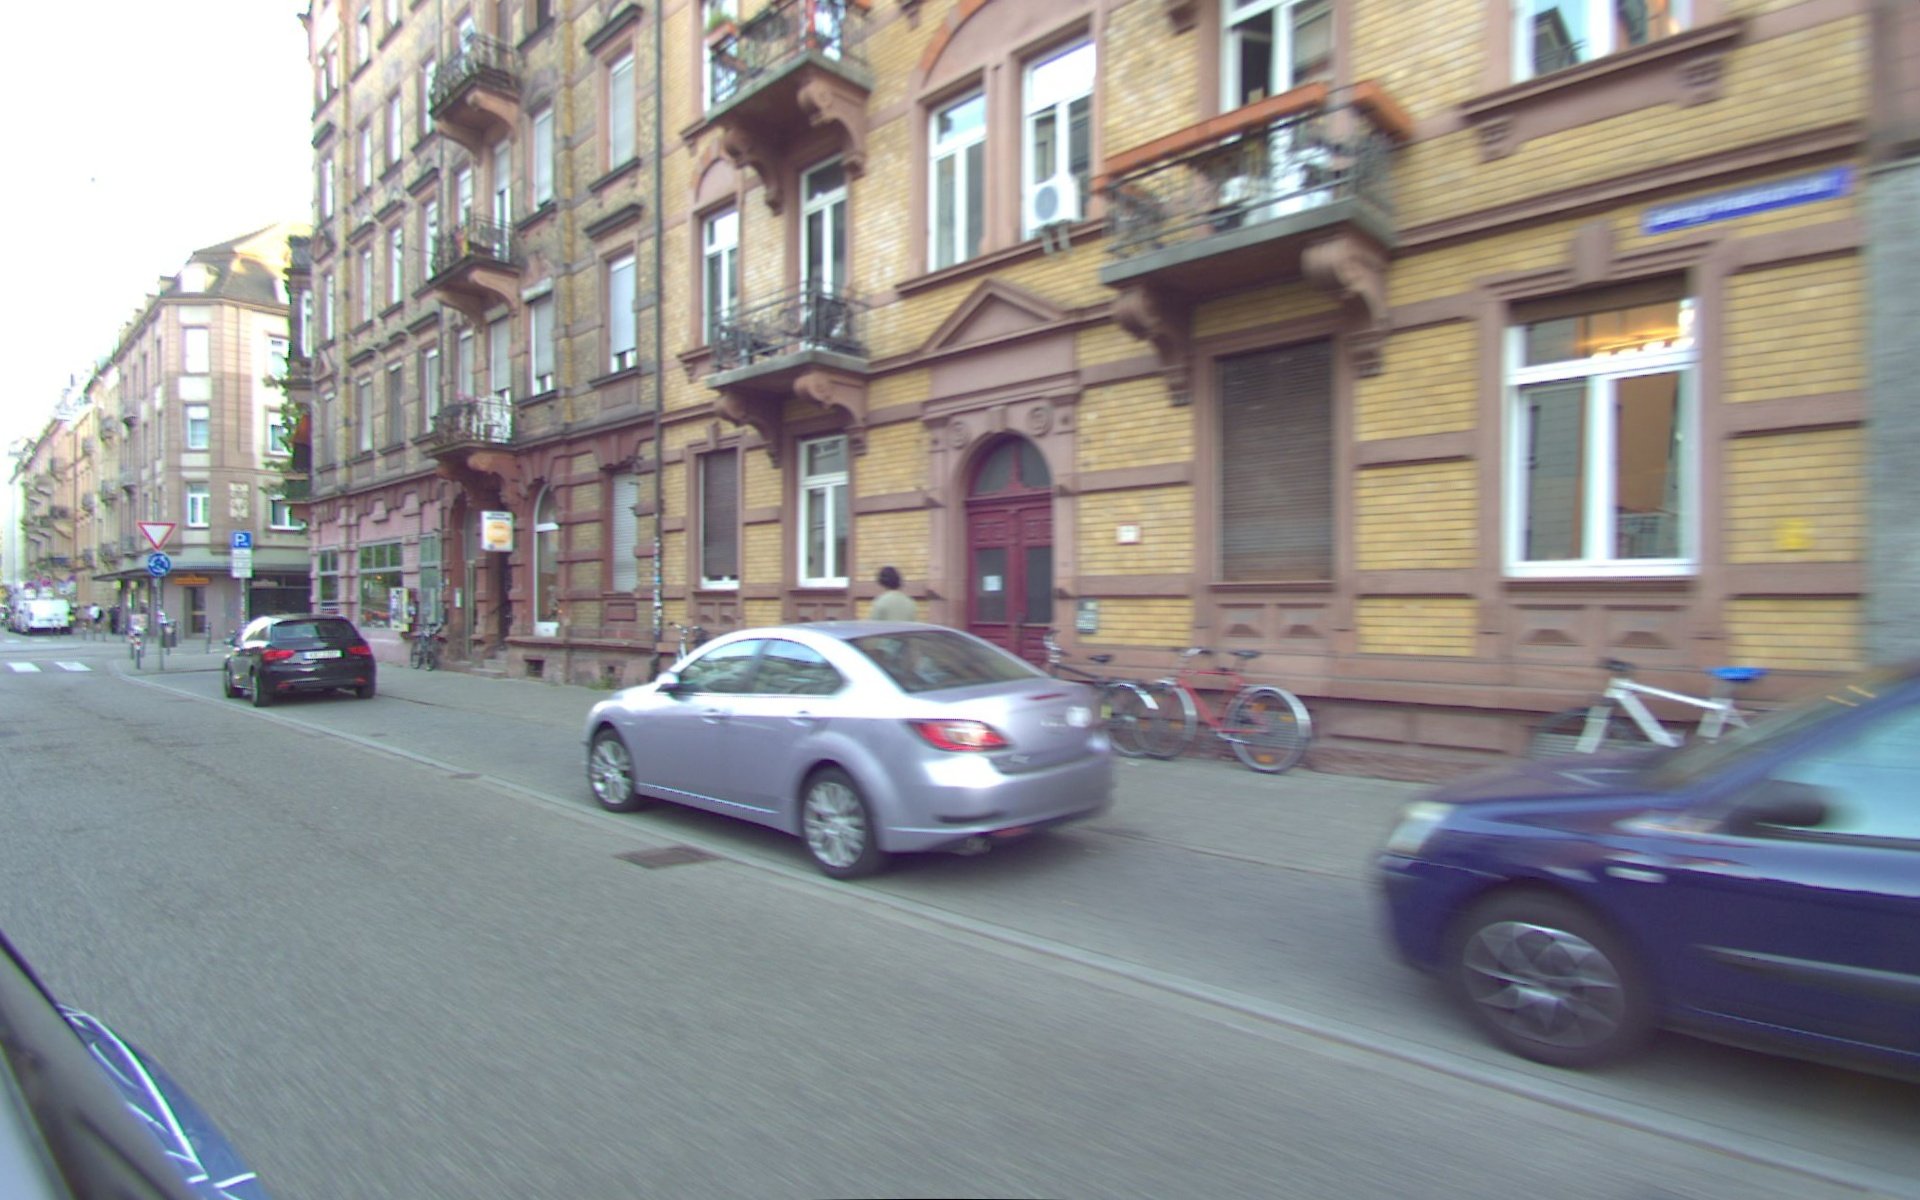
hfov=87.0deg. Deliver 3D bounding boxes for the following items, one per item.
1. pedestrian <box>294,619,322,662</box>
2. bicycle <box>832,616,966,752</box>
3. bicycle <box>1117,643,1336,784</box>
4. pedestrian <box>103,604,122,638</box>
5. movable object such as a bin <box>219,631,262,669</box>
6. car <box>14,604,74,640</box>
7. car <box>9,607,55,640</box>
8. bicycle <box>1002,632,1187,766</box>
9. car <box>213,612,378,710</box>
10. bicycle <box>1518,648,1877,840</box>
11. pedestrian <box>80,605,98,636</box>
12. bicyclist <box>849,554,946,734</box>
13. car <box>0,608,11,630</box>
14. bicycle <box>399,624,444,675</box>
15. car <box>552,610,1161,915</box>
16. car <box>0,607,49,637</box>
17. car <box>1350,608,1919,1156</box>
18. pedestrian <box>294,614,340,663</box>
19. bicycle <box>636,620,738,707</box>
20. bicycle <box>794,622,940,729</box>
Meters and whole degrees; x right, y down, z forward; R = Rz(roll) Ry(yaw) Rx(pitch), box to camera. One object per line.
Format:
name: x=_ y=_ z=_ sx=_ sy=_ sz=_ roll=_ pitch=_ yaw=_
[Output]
pedestrian: x=-18.068 y=1.109 z=28.039 sx=0.497 sy=1.152 sz=0.792 roll=0 pitch=1 yaw=-45
bicycle: x=-0.664 y=0.796 z=10.344 sx=0.698 sy=1.205 sz=1.747 roll=0 pitch=1 yaw=-28
bicycle: x=2.262 y=0.924 z=8.751 sx=1.760 sy=1.045 sz=0.543 roll=-1 pitch=1 yaw=44
pedestrian: x=-45.013 y=1.099 z=53.769 sx=0.644 sy=1.792 sz=0.694 roll=-1 pitch=-1 yaw=-28
movable object such as a bin: x=-18.480 y=1.276 z=25.986 sx=0.729 sy=0.922 sz=0.753 roll=1 pitch=1 yaw=40
car: x=-52.187 y=1.226 z=57.636 sx=4.769 sy=1.973 sz=2.113 roll=-1 pitch=0 yaw=42
car: x=-56.686 y=1.400 z=61.809 sx=4.328 sy=1.918 sz=1.853 roll=-1 pitch=0 yaw=45
bicycle: x=1.256 y=0.897 z=9.730 sx=1.760 sy=1.132 sz=0.543 roll=-1 pitch=1 yaw=44
car: x=-11.319 y=0.944 z=17.144 sx=1.673 sy=1.431 sz=3.858 roll=-1 pitch=0 yaw=-44
bicycle: x=4.759 y=0.869 z=6.641 sx=1.848 sy=1.030 sz=0.444 roll=-1 pitch=3 yaw=44
pedestrian: x=-50.885 y=1.202 z=59.100 sx=0.738 sy=1.757 sz=1.214 roll=-1 pitch=0 yaw=-43
bicyclist: x=-0.649 y=0.419 z=10.319 sx=0.698 sy=1.742 sz=0.846 roll=0 pitch=1 yaw=-28
car: x=-81.687 y=1.580 z=85.383 sx=4.542 sy=1.835 sz=2.112 roll=-1 pitch=0 yaw=44
bicycle: x=-12.072 y=1.084 z=22.656 sx=0.420 sy=1.061 sz=1.900 roll=0 pitch=0 yaw=-43
car: x=-1.015 y=0.816 z=7.135 sx=4.583 sy=1.431 sz=1.704 roll=0 pitch=1 yaw=44
car: x=-60.728 y=1.399 z=65.652 sx=4.542 sy=1.835 sz=2.112 roll=-1 pitch=0 yaw=44
car: x=3.323 y=0.752 z=3.033 sx=3.698 sy=1.431 sz=1.567 roll=-1 pitch=0 yaw=45
pedestrian: x=-17.368 y=1.035 z=27.323 sx=0.904 sy=1.264 sz=0.644 roll=-2 pitch=2 yaw=28
bicycle: x=-4.056 y=0.902 z=14.938 sx=0.521 sy=1.180 sz=2.049 roll=-2 pitch=1 yaw=-43
bicycle: x=-1.092 y=0.843 z=11.771 sx=1.608 sy=1.132 sz=0.731 roll=-1 pitch=0 yaw=37
